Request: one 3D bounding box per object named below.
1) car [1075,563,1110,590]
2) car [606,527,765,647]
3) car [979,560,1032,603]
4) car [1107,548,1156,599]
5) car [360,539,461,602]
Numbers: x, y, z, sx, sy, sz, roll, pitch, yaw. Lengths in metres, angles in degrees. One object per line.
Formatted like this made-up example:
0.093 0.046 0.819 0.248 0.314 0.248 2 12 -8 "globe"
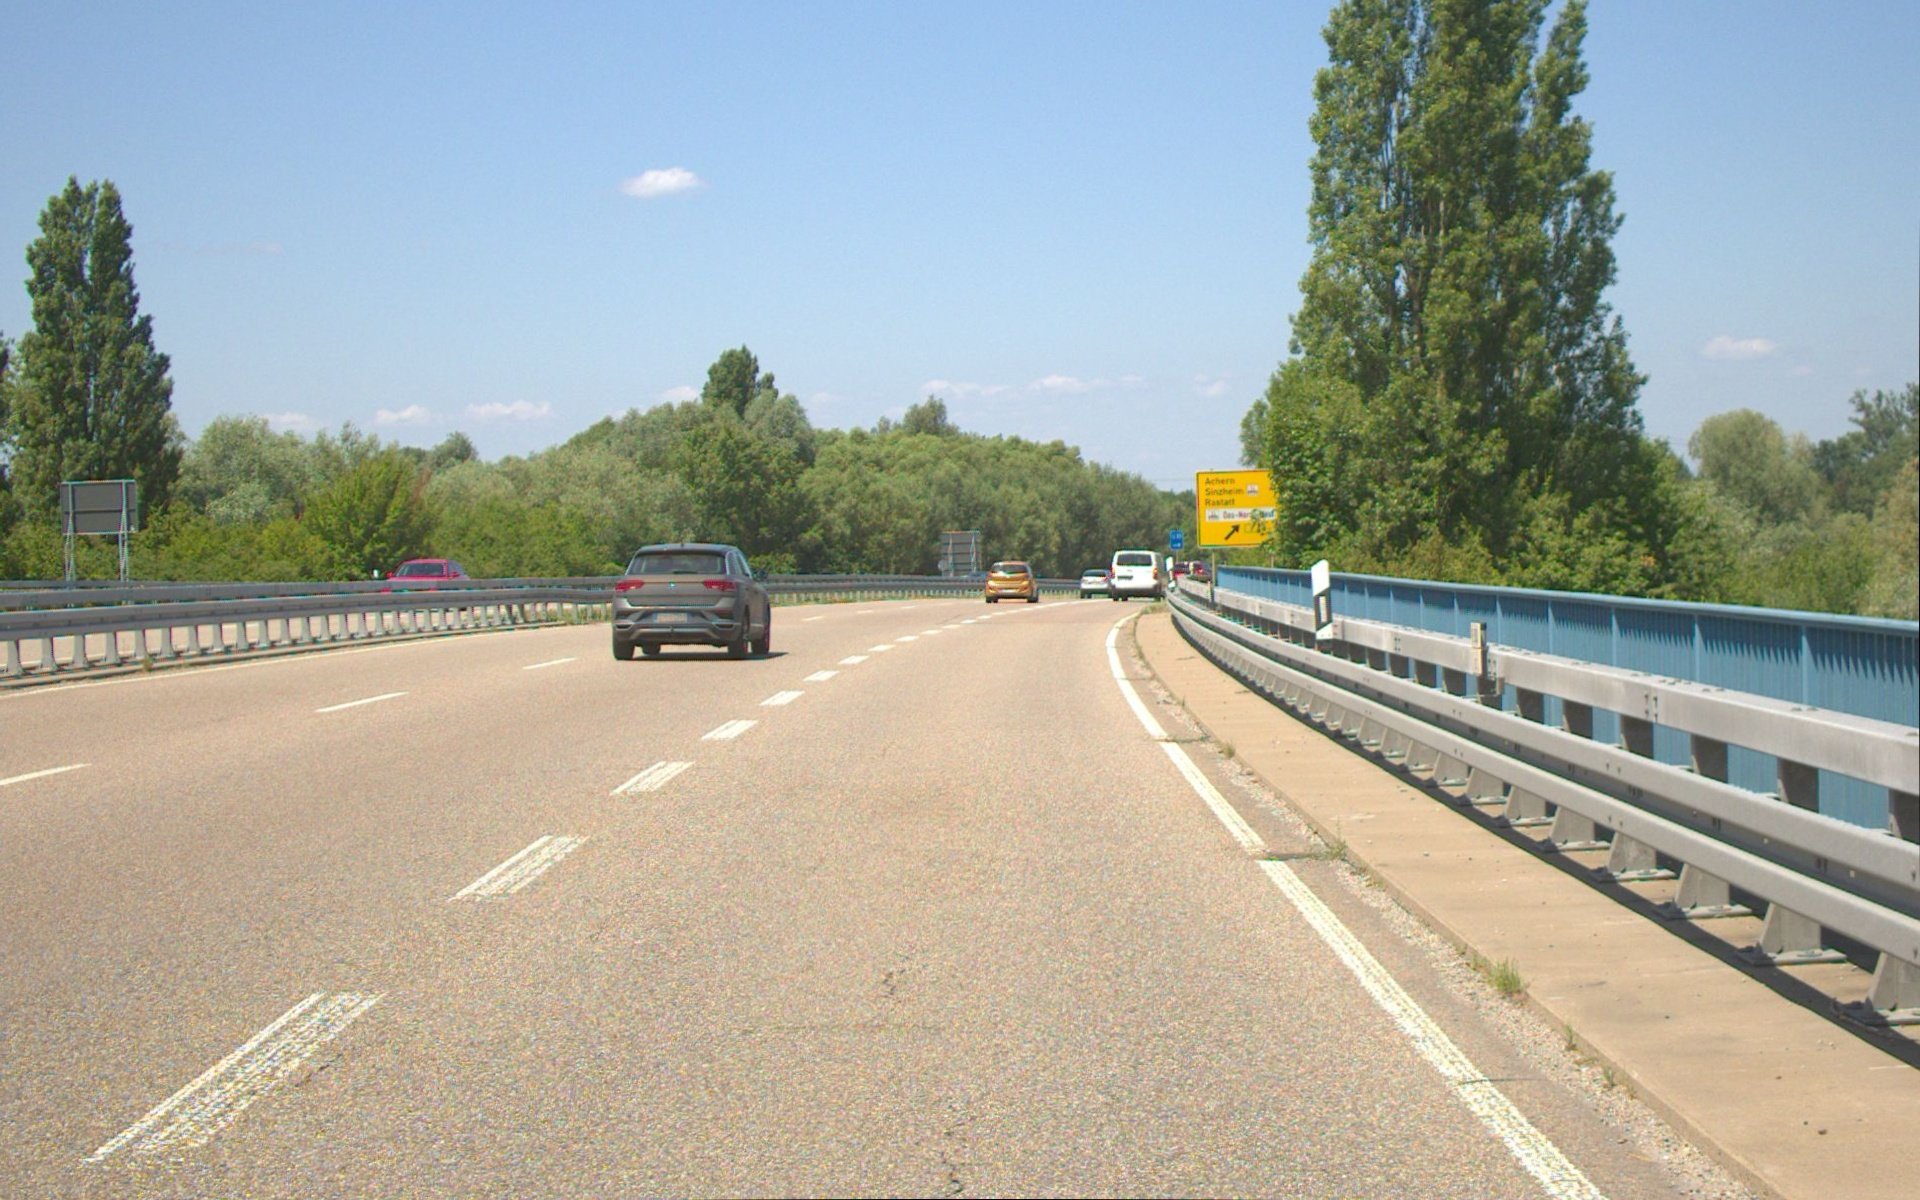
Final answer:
7.362 -1.312 190.572 1.841 1.446 4.000 1 1 4 "car"
-3.694 -0.216 46.878 1.841 1.524 4.470 1 1 -1 "car"
1.622 -0.684 123.432 1.841 1.459 4.000 1 1 1 "car"
6.647 -1.046 133.358 1.841 1.889 4.000 1 1 3 "car"
-15.089 -0.800 94.689 1.843 1.662 5.050 -1 0 1 "car"
